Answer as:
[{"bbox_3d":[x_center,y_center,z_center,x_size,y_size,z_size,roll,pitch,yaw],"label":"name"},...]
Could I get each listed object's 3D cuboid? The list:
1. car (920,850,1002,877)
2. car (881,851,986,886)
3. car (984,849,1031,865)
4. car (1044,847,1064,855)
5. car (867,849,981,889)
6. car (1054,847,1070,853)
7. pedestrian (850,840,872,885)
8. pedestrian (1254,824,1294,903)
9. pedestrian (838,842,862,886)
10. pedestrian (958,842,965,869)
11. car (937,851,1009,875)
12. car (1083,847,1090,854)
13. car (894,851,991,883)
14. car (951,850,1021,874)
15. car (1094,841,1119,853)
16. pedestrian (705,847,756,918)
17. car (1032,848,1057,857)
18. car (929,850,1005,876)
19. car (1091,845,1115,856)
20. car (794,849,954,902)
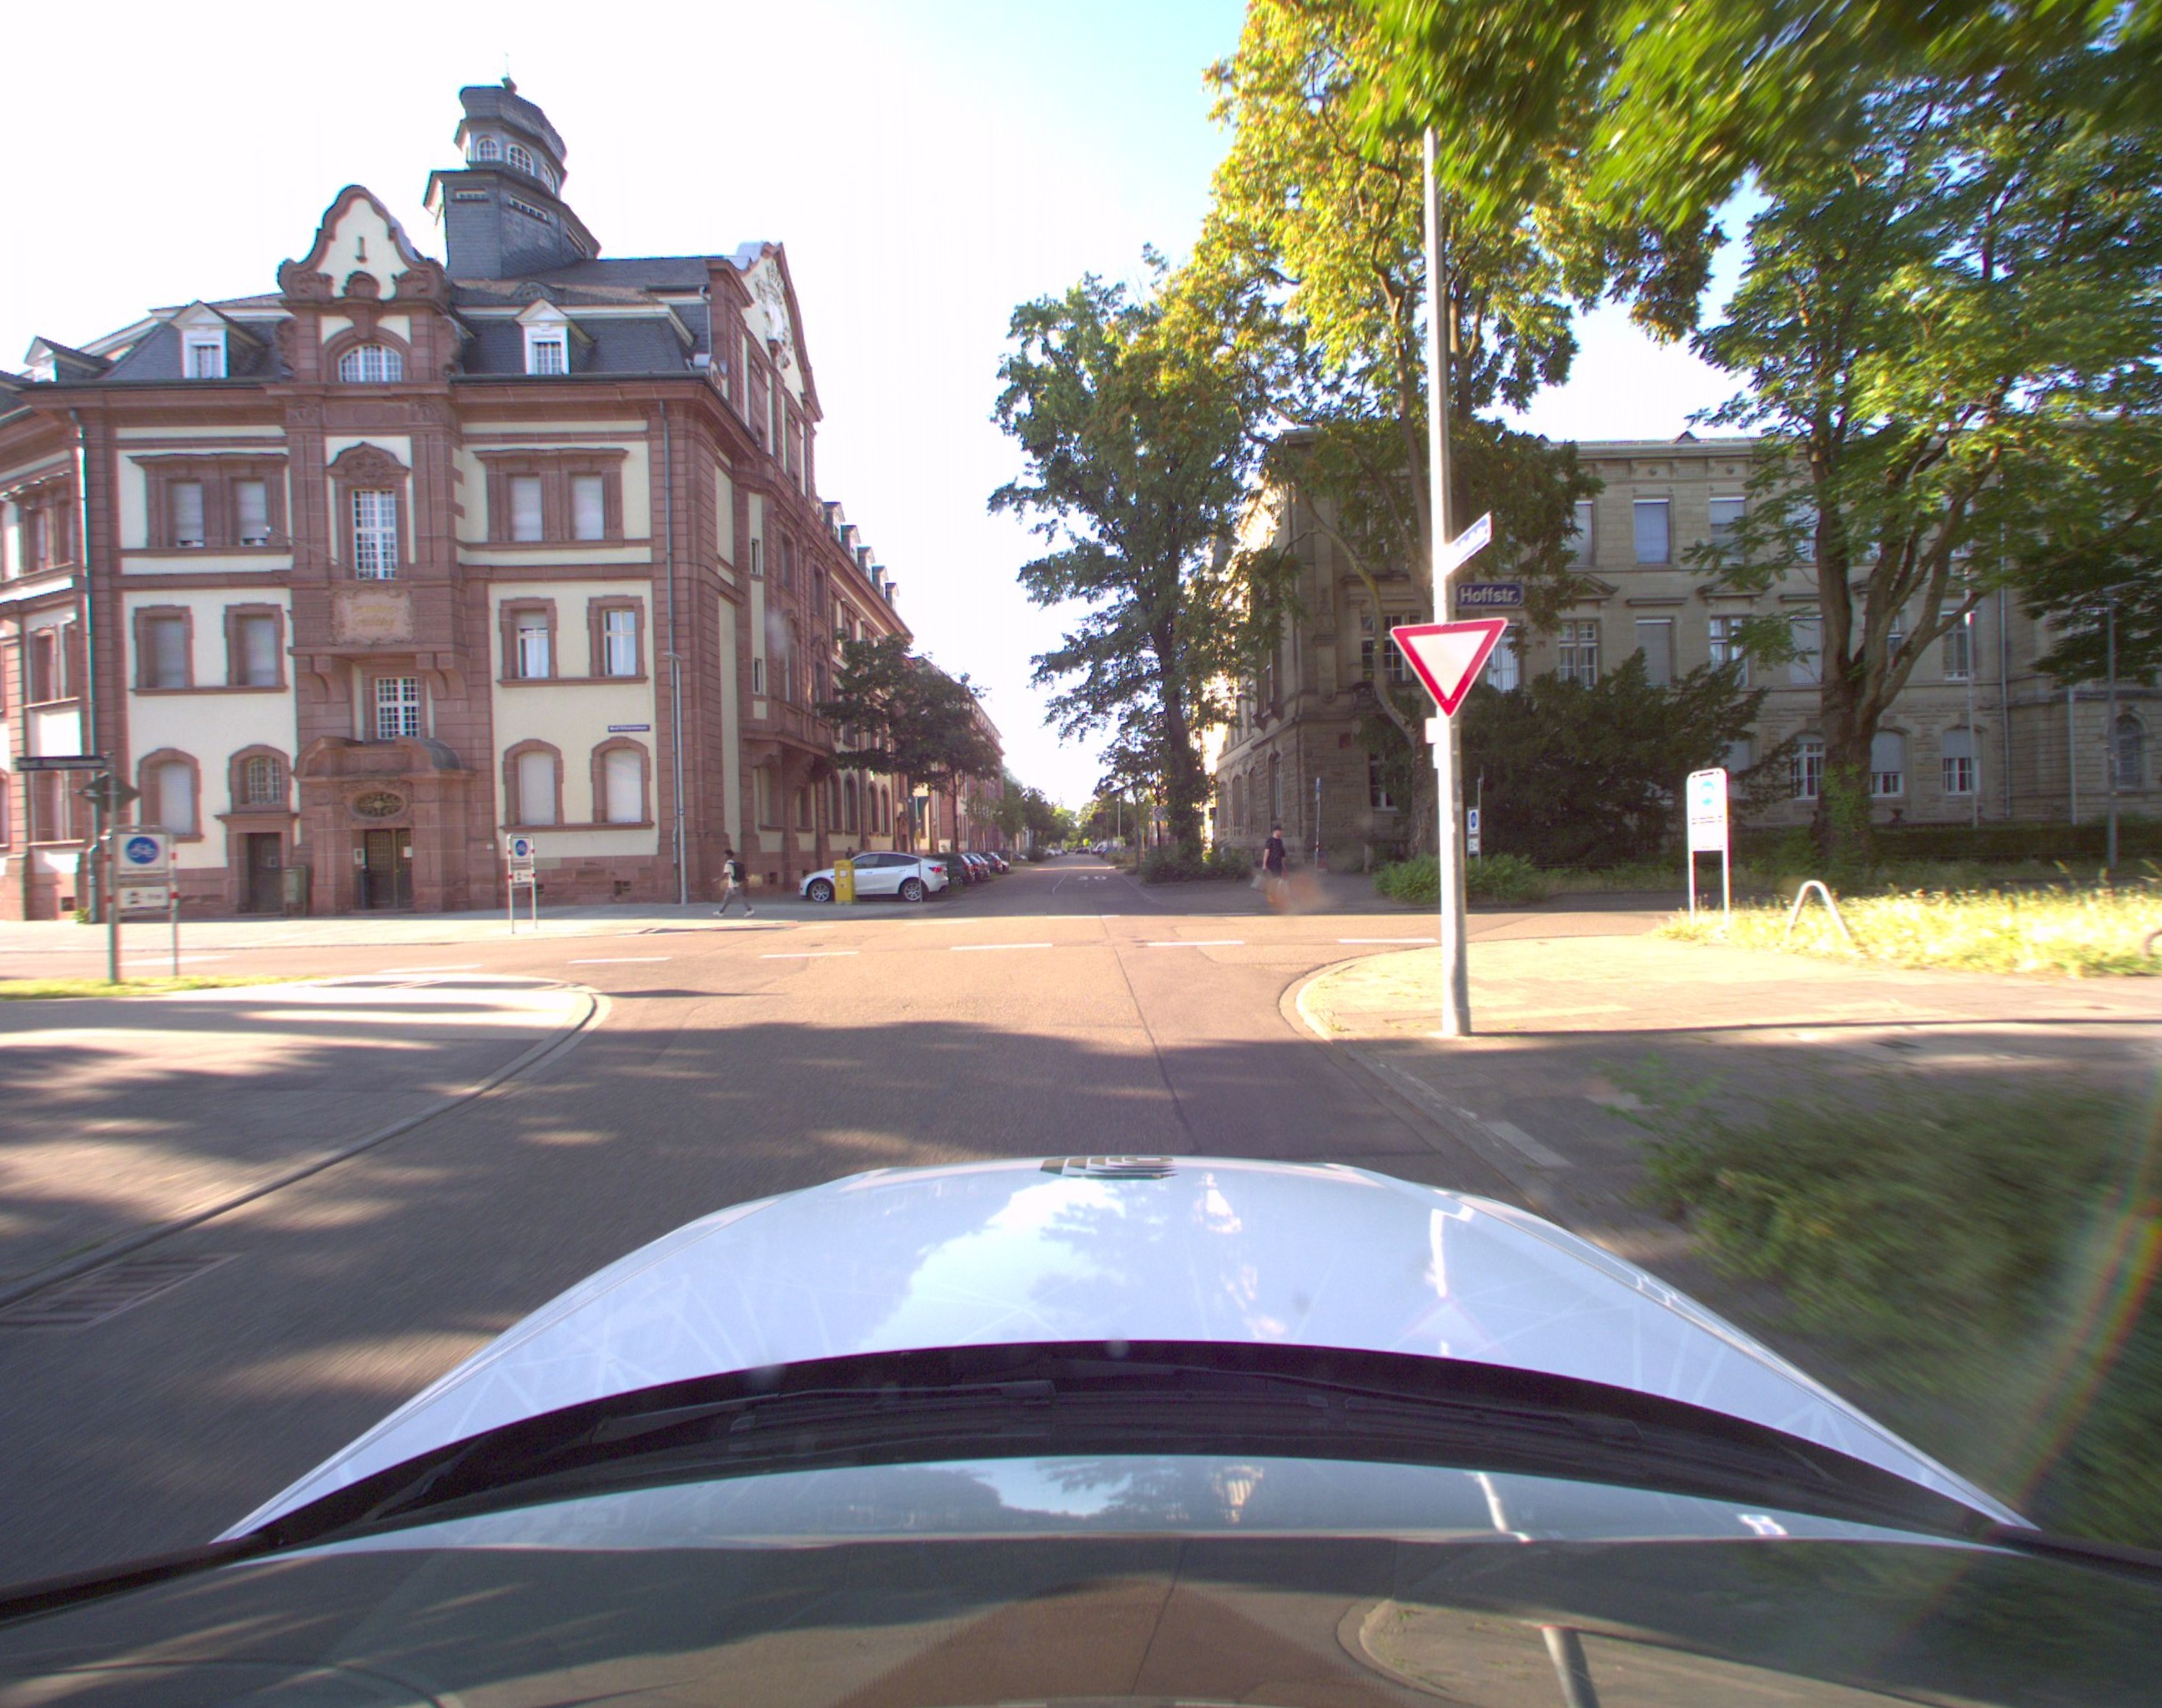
[{"bbox_3d":[-6.724,0.525,46.031,4.369,1.496,1.965,0,0,-3],"label":"car"},{"bbox_3d":[-6.518,0.610,36.434,4.369,1.496,1.965,0,0,-3],"label":"car"},{"bbox_3d":[-6.976,0.241,77.568,4.365,1.496,1.966,0,0,-1],"label":"car"},{"bbox_3d":[-5.769,-0.586,171.428,4.076,1.494,1.933,-2,1,0],"label":"car"},{"bbox_3d":[-6.416,0.584,33.645,4.369,1.585,1.965,0,0,-3],"label":"car"},{"bbox_3d":[-5.075,-0.964,213.778,4.076,1.494,1.933,-2,1,0],"label":"car"},{"bbox_3d":[-9.027,0.339,33.442,0.721,1.840,0.613,0,0,2],"label":"pedestrian"},{"bbox_3d":[4.819,0.219,20.329,0.723,1.918,0.609,-1,0,-23],"label":"pedestrian"},{"bbox_3d":[-9.796,0.402,34.540,0.784,1.840,0.717,0,0,2],"label":"pedestrian"},{"bbox_3d":[-9.259,0.108,63.007,0.433,2.013,0.463,-2,0,0],"label":"pedestrian"},{"bbox_3d":[-6.729,0.539,51.125,4.369,1.496,1.965,0,0,-3],"label":"car"},{"bbox_3d":[1.385,-0.968,211.159,1.740,1.706,3.670,-2,1,-3],"label":"car"},{"bbox_3d":[-6.632,0.589,39.331,4.369,1.496,1.965,0,0,-3],"label":"car"},{"bbox_3d":[-6.166,0.507,53.335,4.369,1.496,1.965,0,0,-3],"label":"car"},{"bbox_3d":[4.775,-1.267,152.322,4.689,2.103,2.000,-2,0,0],"label":"car"},{"bbox_3d":[-8.733,0.707,20.309,0.996,1.719,0.534,-1,0,1],"label":"pedestrian"},{"bbox_3d":[-6.196,-0.294,138.958,4.076,1.494,1.933,-2,1,0],"label":"car"},{"bbox_3d":[-6.753,0.500,48.629,4.369,1.496,1.965,0,0,-3],"label":"car"},{"bbox_3d":[3.707,-0.584,136.831,3.974,1.618,1.788,-2,0,0],"label":"car"},{"bbox_3d":[-6.628,0.674,26.481,4.696,1.589,1.965,1,0,-3],"label":"car"}]
